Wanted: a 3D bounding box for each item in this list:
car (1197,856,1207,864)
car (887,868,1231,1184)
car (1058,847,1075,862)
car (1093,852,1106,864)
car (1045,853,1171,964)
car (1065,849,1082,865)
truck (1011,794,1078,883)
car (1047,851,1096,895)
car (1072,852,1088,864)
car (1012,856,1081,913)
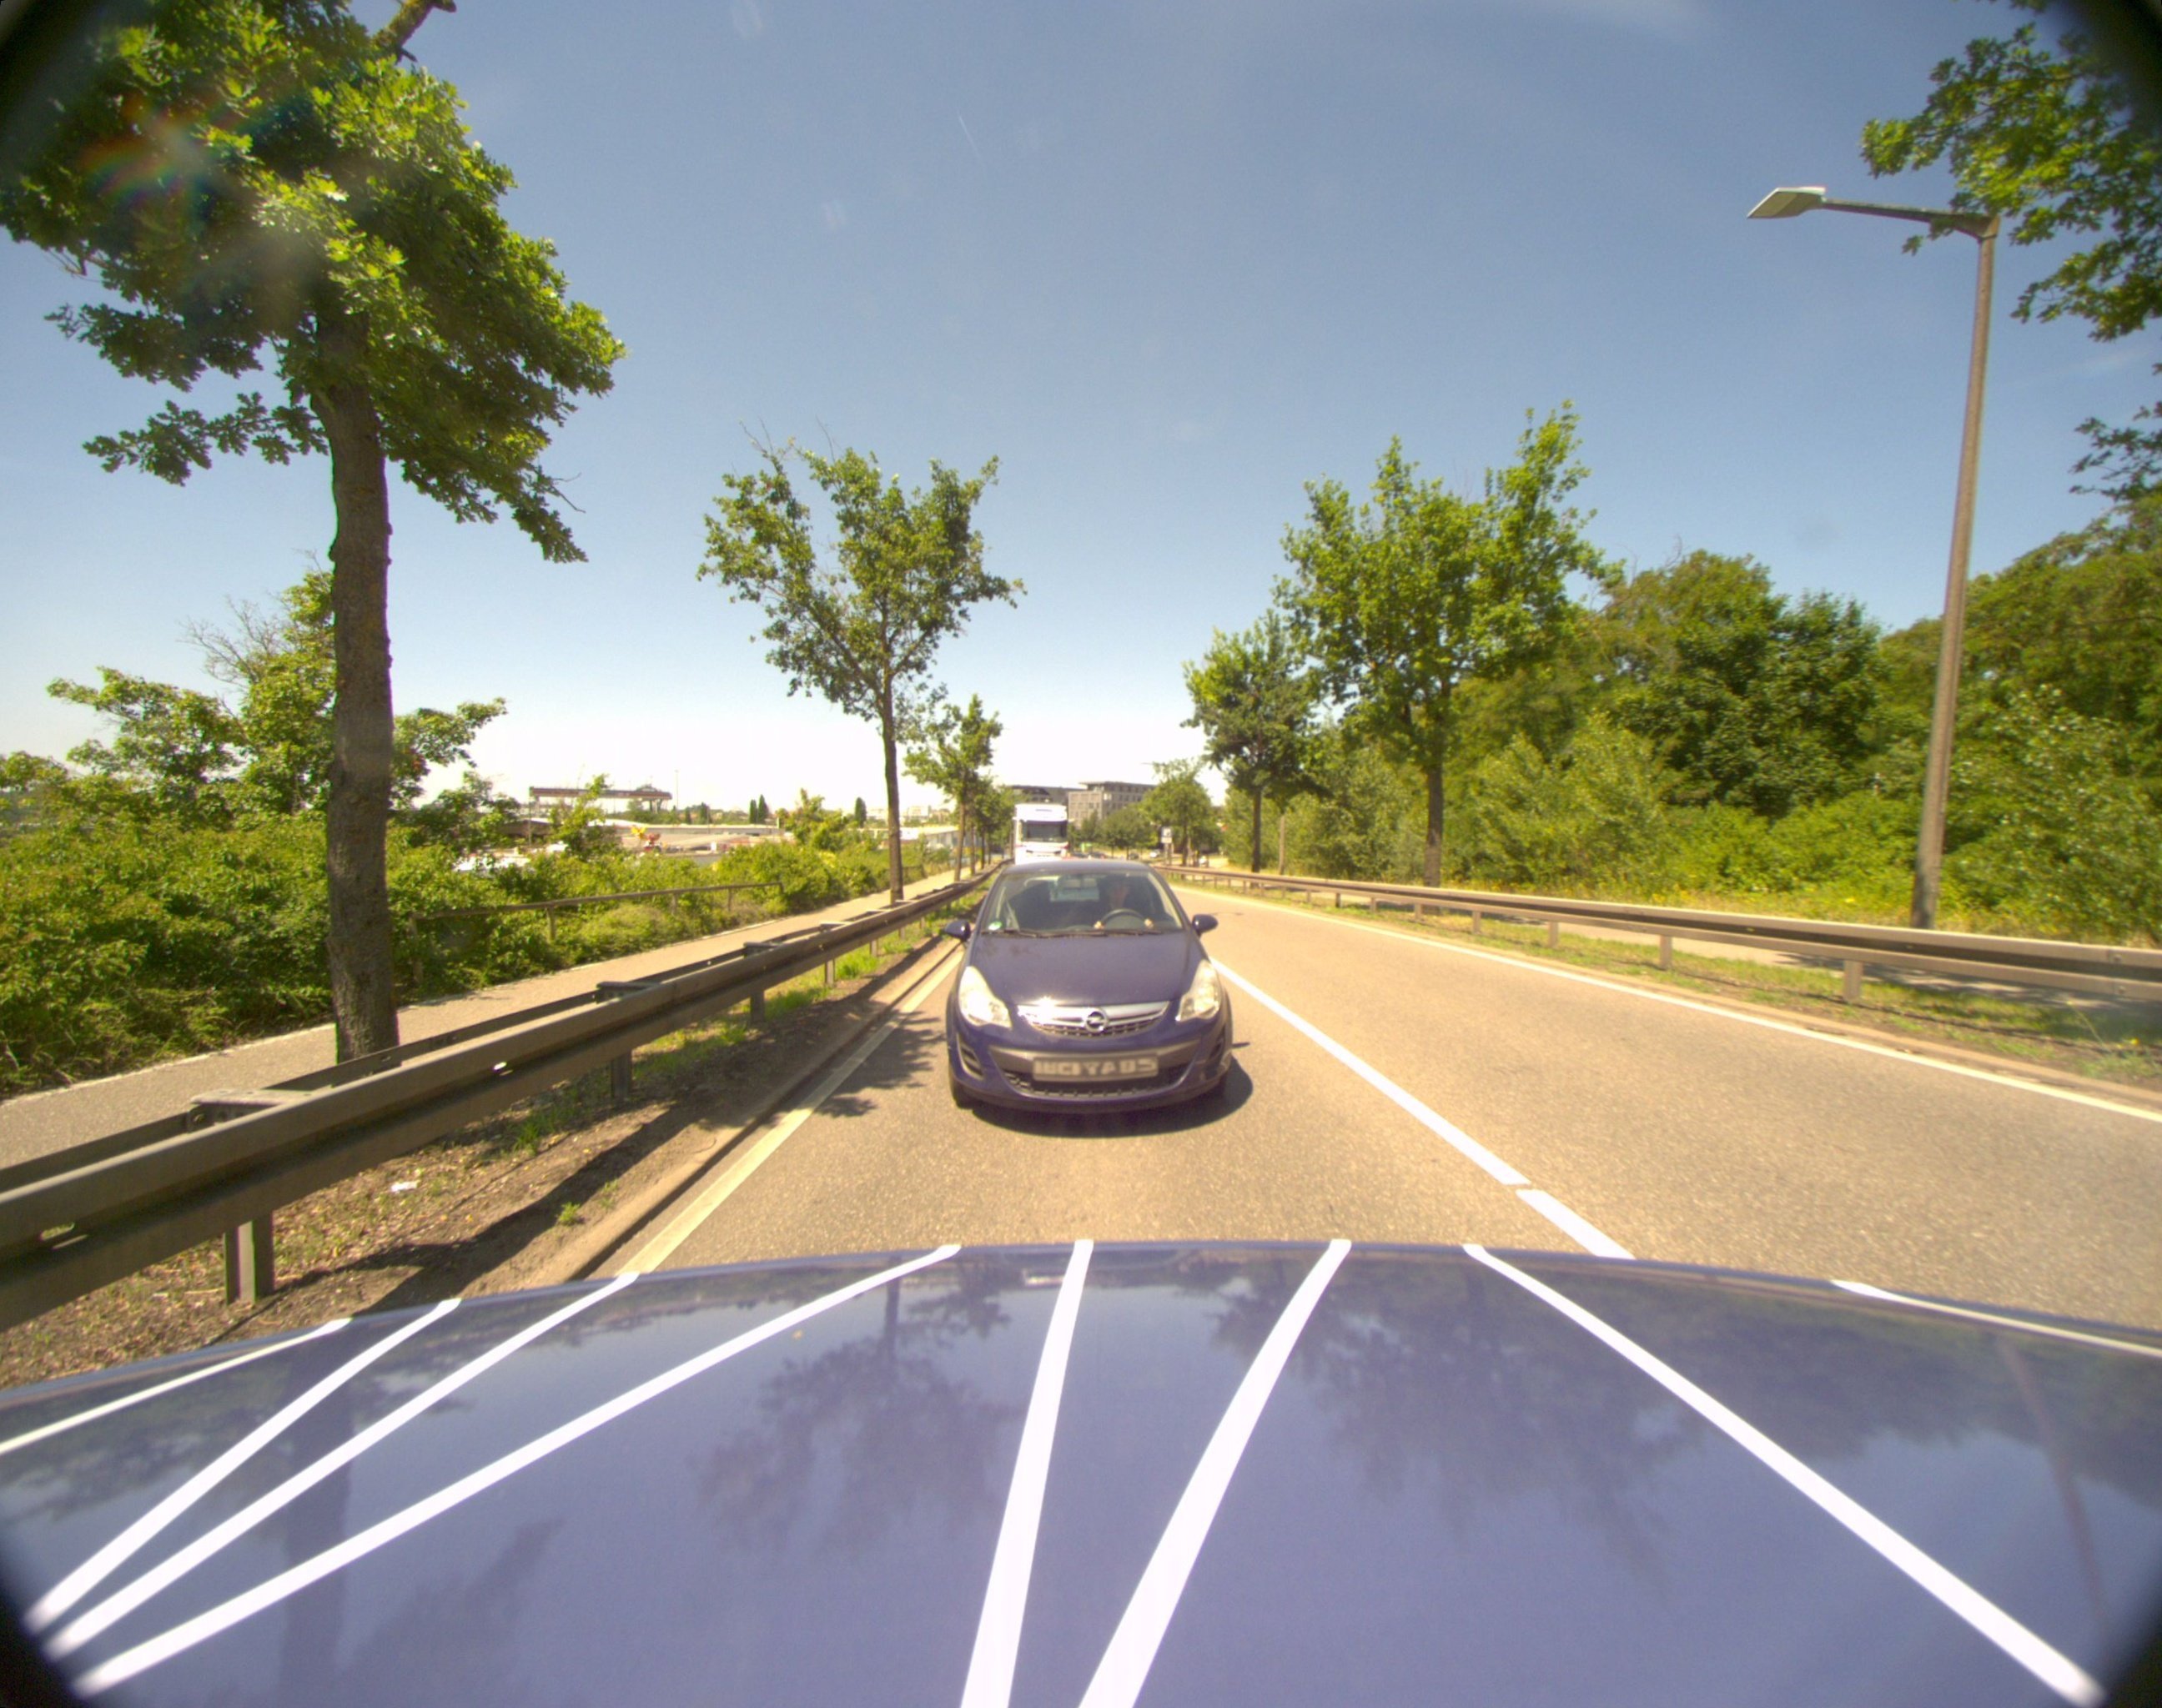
[{"bbox_3d":[23.118,1.090,145.093,1.778,1.435,4.003,-2,1,11],"label":"car"},{"bbox_3d":[-0.118,0.922,5.826,1.720,1.455,3.837,-2,1,0],"label":"car"},{"bbox_3d":[-1.665,0.063,89.202,1.743,1.609,4.000,-2,1,2],"label":"car"},{"bbox_3d":[3.291,0.702,131.456,1.779,2.002,4.002,-2,1,8],"label":"car"},{"bbox_3d":[0.348,0.783,12.912,1.780,1.498,3.895,-2,1,-1],"label":"car"},{"bbox_3d":[-0.972,0.378,105.456,1.779,2.002,4.001,-2,1,7],"label":"car"},{"bbox_3d":[-2.492,-0.835,44.732,3.072,4.146,16.901,-2,1,-5],"label":"truck"},{"bbox_3d":[-0.440,0.690,30.640,1.780,1.569,3.998,-2,1,-2],"label":"car"},{"bbox_3d":[-0.168,0.626,114.795,1.779,1.657,4.002,-2,1,8],"label":"car"},{"bbox_3d":[-1.071,0.805,22.209,1.781,1.398,3.998,-2,1,-4],"label":"car"}]
